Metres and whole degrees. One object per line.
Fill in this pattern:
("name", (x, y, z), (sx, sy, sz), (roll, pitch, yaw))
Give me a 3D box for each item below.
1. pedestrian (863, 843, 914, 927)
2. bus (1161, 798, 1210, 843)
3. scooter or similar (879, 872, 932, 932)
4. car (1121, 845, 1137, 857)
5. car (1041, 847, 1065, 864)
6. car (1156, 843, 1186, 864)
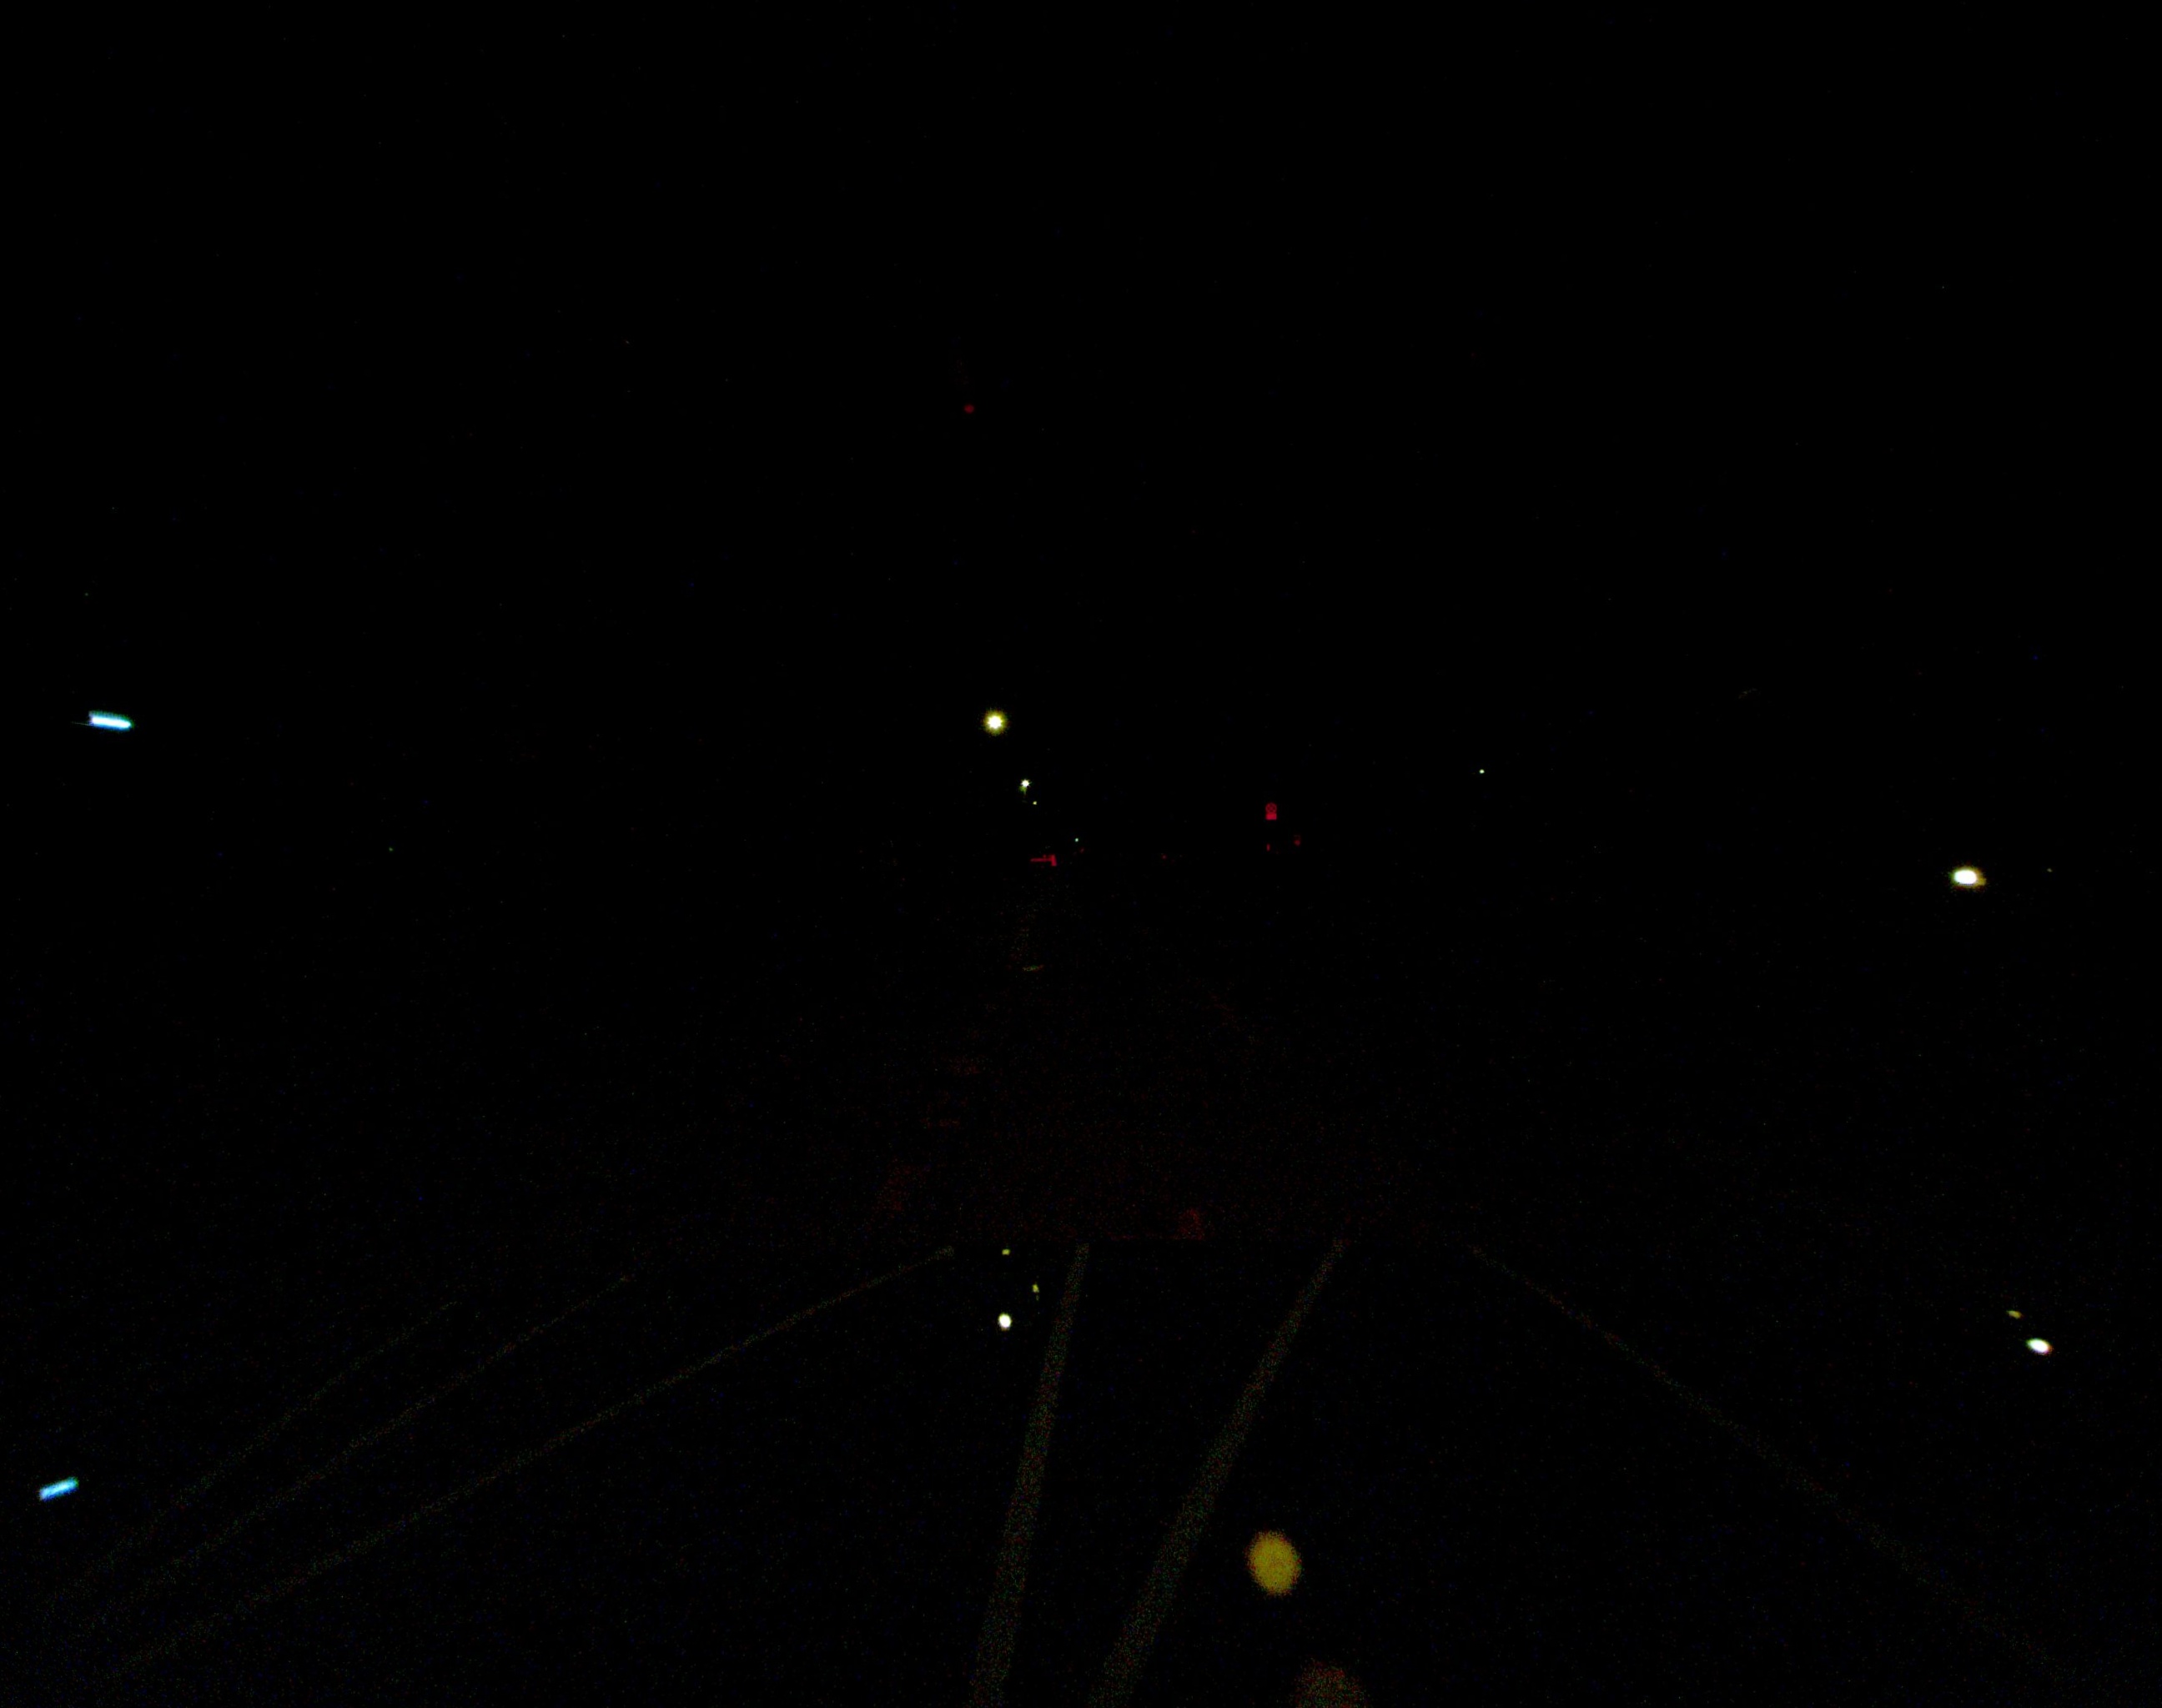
("pedestrian", (-4.427, 0.690, 17.526), (0.819, 1.854, 1.034), (-2, 1, 1))
("bus", (17.504, -5.490, 129.135), (6.135, 6.898, 14.781), (-2, 1, 1))
("scooter or similar", (-3.696, 1.002, 16.077), (0.468, 1.195, 1.137), (-2, 0, 24))
("car", (6.287, -0.446, 100.514), (1.863, 1.484, 4.080), (-2, 1, 1))
("car", (-2.867, 0.120, 78.112), (1.998, 1.638, 4.000), (0, 2, 5))
("car", (7.171, -0.072, 60.859), (1.806, 1.583, 3.999), (-2, 1, -1))
